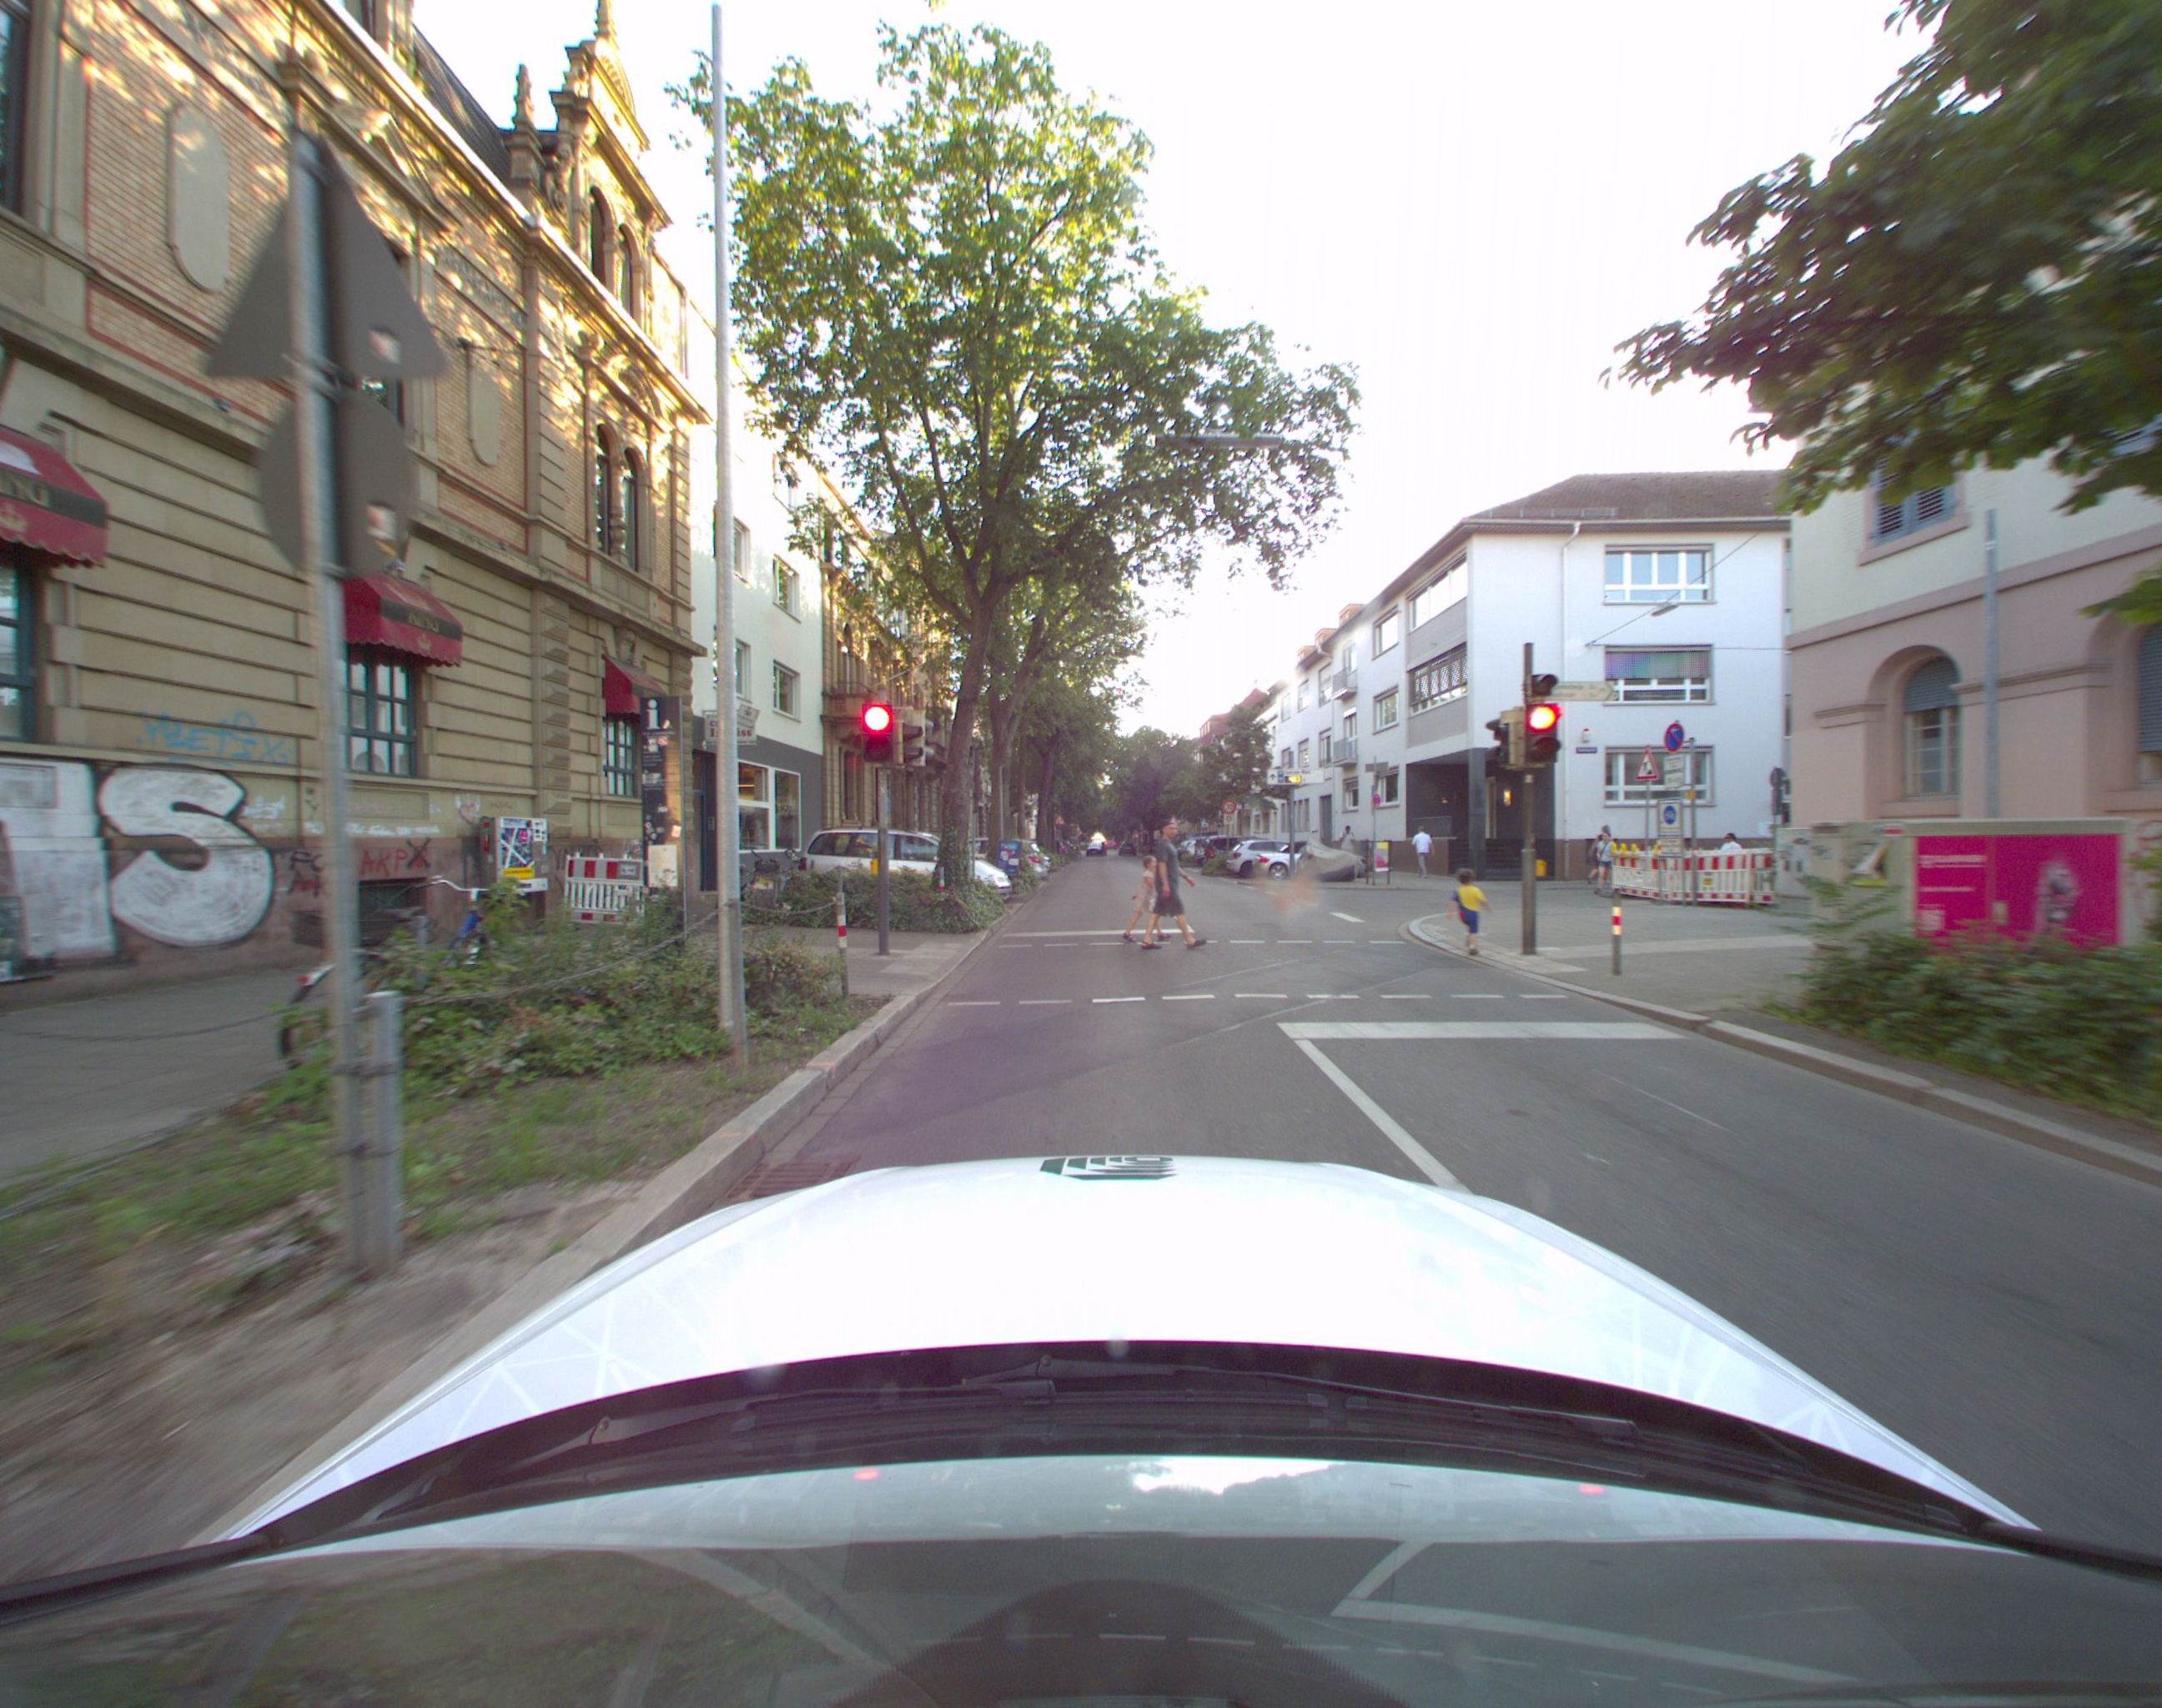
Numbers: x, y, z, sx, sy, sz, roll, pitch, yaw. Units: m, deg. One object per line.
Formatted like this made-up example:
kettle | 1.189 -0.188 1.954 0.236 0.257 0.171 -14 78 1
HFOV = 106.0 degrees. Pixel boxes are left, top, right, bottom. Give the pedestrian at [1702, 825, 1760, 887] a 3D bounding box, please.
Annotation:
pedestrian | 16.108 0.046 20.198 0.798 1.501 0.775 -2 0 -6

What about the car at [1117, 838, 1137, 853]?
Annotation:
car | 4.642 -0.876 83.355 1.819 1.561 4.028 1 1 0

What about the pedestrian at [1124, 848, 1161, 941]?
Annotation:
pedestrian | 0.924 0.589 12.119 0.536 1.335 0.507 0 1 6

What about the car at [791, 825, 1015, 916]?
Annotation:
car | -3.801 0.322 18.056 4.536 1.834 1.832 -1 1 -2

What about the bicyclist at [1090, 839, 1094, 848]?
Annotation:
bicyclist | 1.778 -1.712 133.513 0.570 1.470 0.642 0 0 -5

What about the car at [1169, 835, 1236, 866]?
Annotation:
car | 7.610 -0.211 51.340 4.000 1.815 1.707 -1 1 0

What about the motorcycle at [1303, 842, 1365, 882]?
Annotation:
motorcycle | 7.896 0.239 25.459 1.789 1.199 0.614 -1 1 10

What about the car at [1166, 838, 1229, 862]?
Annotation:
car | 7.725 -0.263 54.197 4.000 1.530 1.707 0 1 0

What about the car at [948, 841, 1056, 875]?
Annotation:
car | -3.418 0.173 35.898 4.531 1.372 1.834 -1 1 1

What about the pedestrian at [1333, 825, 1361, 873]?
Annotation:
pedestrian | 10.205 -0.197 31.280 0.764 1.841 0.944 0 1 2

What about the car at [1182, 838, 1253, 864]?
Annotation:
car | 8.183 -0.188 48.989 4.000 1.409 1.707 -1 1 0

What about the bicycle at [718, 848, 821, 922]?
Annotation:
bicycle | -5.508 0.493 14.599 0.731 1.186 2.636 1 1 2

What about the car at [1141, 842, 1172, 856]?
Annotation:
car | 10.058 -0.685 109.160 4.000 1.830 1.707 0 1 0

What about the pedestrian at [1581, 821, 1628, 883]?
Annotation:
pedestrian | 15.065 -0.075 23.466 0.765 1.751 0.934 0 1 1

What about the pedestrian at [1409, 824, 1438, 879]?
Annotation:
pedestrian | 11.228 -0.087 26.703 0.700 1.751 0.700 0 1 5

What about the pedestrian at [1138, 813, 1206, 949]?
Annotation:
pedestrian | 1.262 0.361 11.322 0.884 1.815 0.795 -1 1 5

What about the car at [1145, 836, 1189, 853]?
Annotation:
car | 8.043 -0.873 76.472 4.000 1.601 1.707 0 1 0

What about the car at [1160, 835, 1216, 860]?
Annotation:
car | 8.087 -0.526 61.805 4.000 1.830 1.707 0 1 0

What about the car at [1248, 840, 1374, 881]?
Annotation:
car | 8.045 0.214 28.707 3.999 1.342 1.707 -1 1 1

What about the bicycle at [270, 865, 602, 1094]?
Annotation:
bicycle | -4.099 0.691 5.442 0.508 1.153 2.102 1 1 1

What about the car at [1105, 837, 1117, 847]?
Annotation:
car | 5.068 -1.975 137.815 1.918 1.659 4.001 -1 1 1

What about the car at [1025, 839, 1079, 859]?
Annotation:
car | -2.505 -0.452 70.630 4.531 1.691 1.834 0 1 1

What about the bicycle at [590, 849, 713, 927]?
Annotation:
bicycle | -7.351 0.523 14.108 0.634 1.201 2.566 -1 1 3

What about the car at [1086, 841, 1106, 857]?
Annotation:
car | 1.471 -0.543 82.350 1.898 1.577 3.990 0 1 -1

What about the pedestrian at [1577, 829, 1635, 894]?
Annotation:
pedestrian | 12.844 0.172 19.960 0.973 1.557 0.701 0 1 1

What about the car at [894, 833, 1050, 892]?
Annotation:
car | -3.330 0.241 25.474 4.531 1.688 1.834 -1 1 1

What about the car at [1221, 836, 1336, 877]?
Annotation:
car | 7.543 0.075 31.320 4.000 1.442 1.707 -1 1 0

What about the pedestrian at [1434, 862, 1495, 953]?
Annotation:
pedestrian | 5.085 0.682 10.787 0.560 1.121 0.842 1 1 37

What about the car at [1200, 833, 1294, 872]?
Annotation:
car | 7.619 -0.078 37.703 4.000 1.690 1.707 -1 1 0
